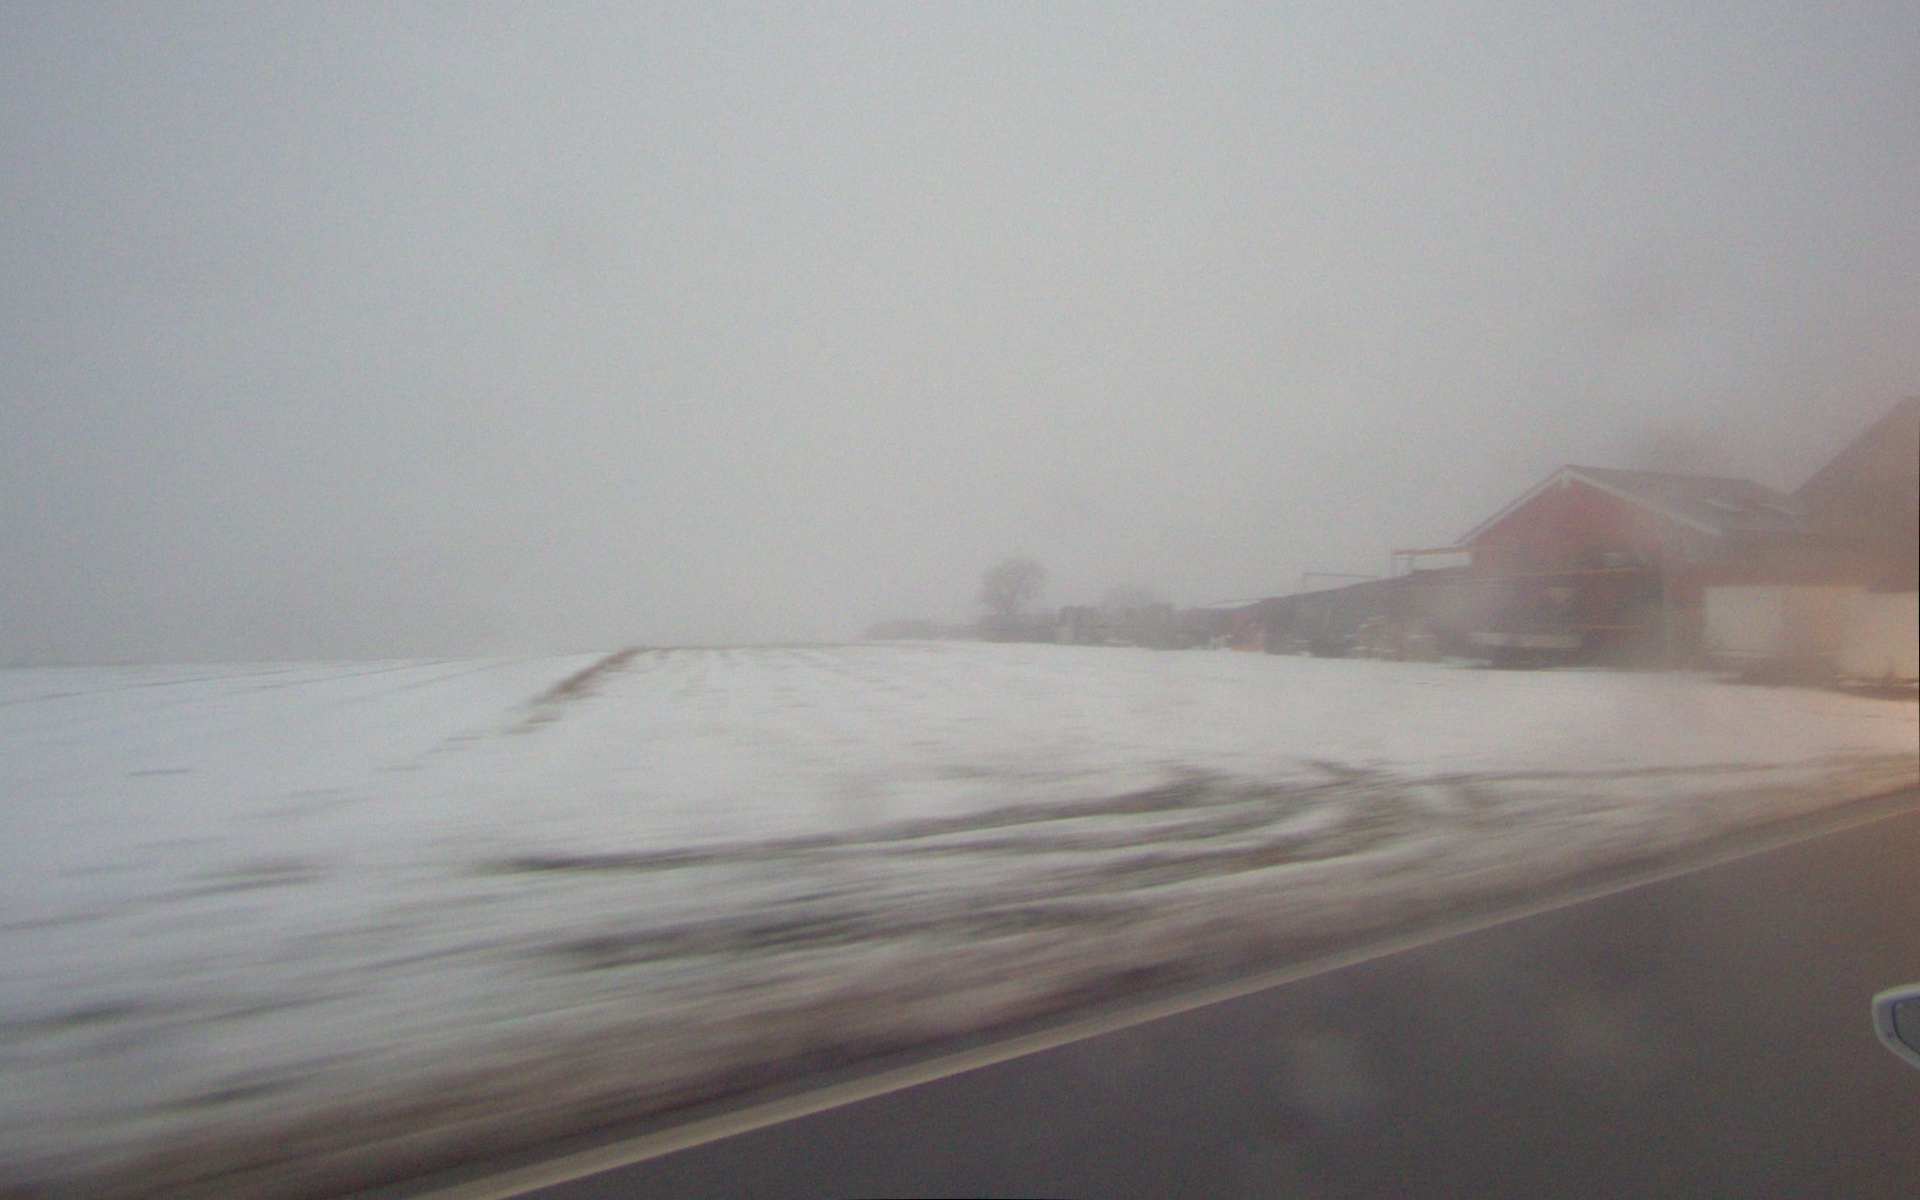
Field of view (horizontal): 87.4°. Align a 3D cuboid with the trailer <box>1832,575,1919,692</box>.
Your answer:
[{"bbox_3d":[22.482,0.822,24.519,1.670,2.639,3.429,-2,-2,40],"label":"trailer"}]

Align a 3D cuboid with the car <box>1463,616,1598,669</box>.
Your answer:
[{"bbox_3d":[19.624,1.440,34.582,3.940,1.739,1.991,1,-2,-21],"label":"car"}]

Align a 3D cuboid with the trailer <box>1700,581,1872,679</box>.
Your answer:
[{"bbox_3d":[22.640,0.835,27.548,3.952,2.522,1.990,1,-2,-23],"label":"trailer"}]

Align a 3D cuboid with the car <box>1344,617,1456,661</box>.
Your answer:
[{"bbox_3d":[17.588,1.557,40.188,3.944,1.684,1.989,1,-2,-24],"label":"car"}]

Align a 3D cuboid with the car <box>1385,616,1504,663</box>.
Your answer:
[{"bbox_3d":[18.255,1.471,37.882,3.945,1.684,1.988,1,-2,-25],"label":"car"}]

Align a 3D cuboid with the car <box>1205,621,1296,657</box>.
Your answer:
[{"bbox_3d":[14.270,1.905,49.309,3.943,1.684,1.989,1,-2,-23],"label":"car"}]
